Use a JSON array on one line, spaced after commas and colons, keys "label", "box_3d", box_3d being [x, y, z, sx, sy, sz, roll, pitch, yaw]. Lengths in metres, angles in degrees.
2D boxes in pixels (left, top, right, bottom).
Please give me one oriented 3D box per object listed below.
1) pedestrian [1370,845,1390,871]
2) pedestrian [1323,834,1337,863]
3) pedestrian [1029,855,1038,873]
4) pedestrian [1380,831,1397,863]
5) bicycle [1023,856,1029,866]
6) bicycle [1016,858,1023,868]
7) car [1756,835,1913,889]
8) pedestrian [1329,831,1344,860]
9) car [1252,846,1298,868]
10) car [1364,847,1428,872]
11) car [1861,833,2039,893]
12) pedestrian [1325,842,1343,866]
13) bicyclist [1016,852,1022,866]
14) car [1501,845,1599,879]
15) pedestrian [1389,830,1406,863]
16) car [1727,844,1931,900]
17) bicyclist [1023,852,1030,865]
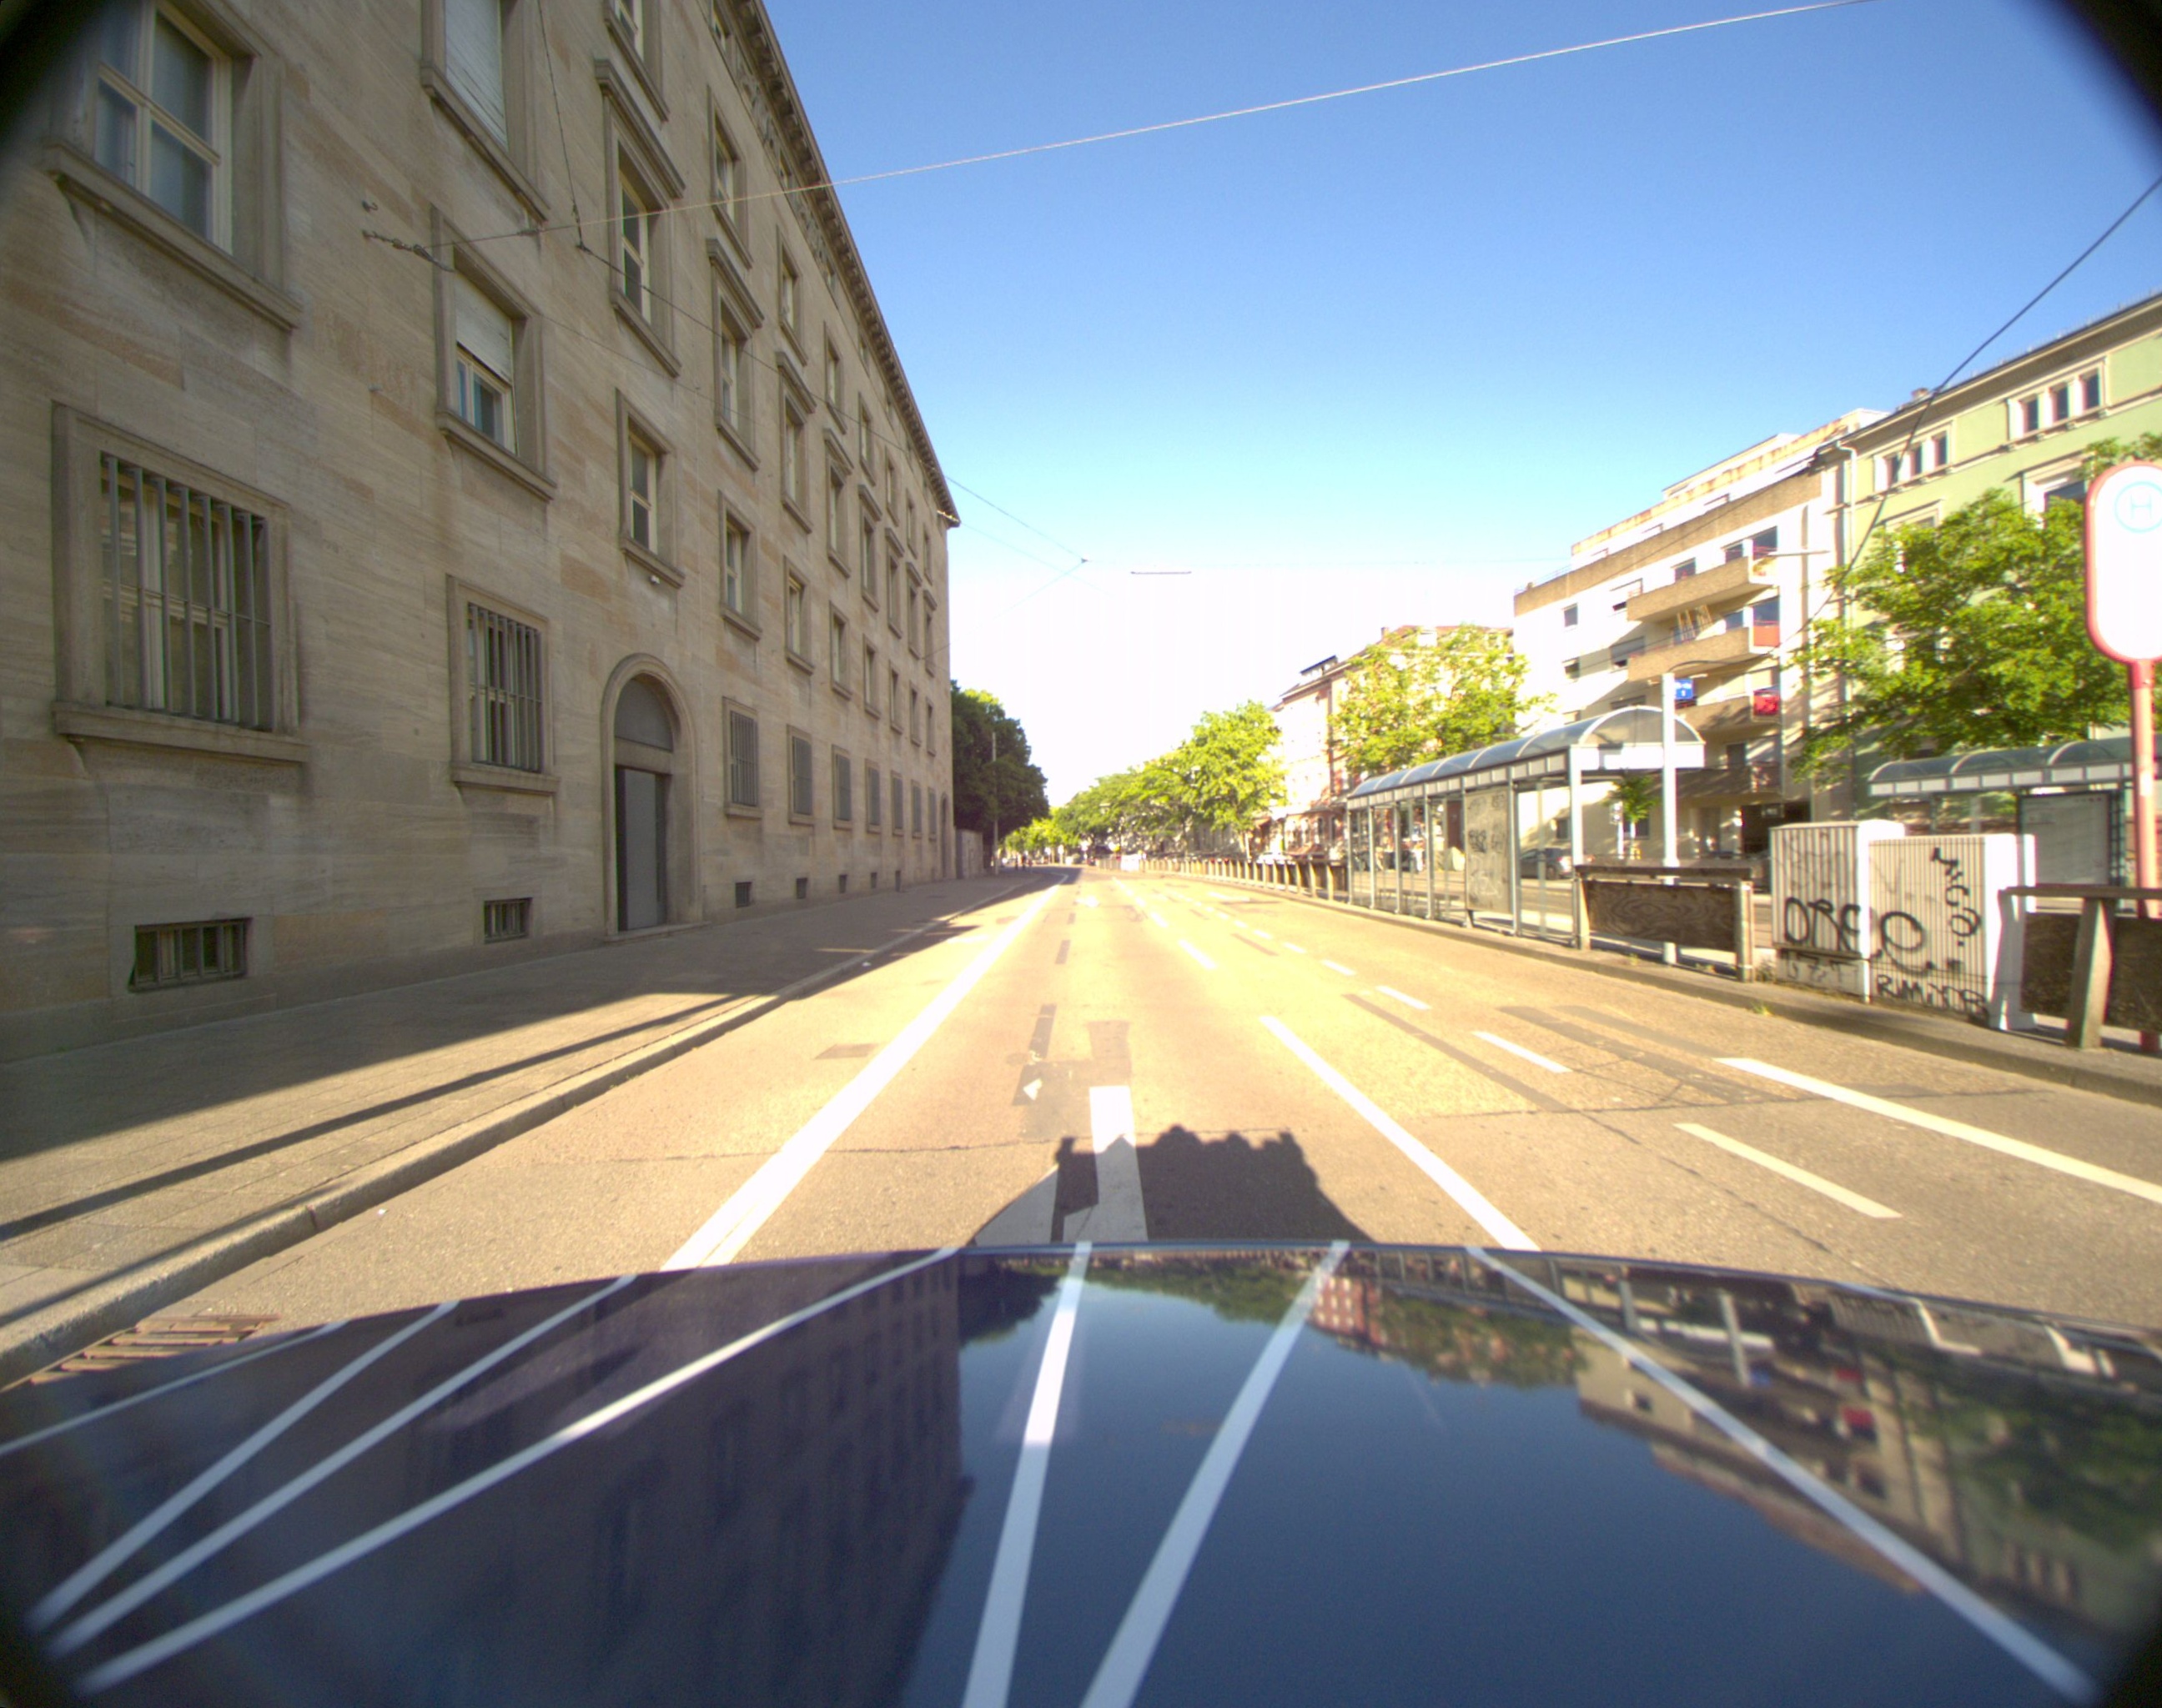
[{"label": "pedestrian", "box_3d": [18.983, 0.272, 48.247, 0.870, 1.619, 0.889, -2, 1, -42]}, {"label": "pedestrian", "box_3d": [19.451, -0.438, 59.284, 0.812, 2.194, 0.756, -1, 1, -4]}, {"label": "pedestrian", "box_3d": [-3.689, 0.774, 58.854, 0.548, 1.327, 0.587, -1, 1, 7]}, {"label": "pedestrian", "box_3d": [21.217, -0.482, 52.436, 0.813, 2.194, 0.756, -1, 1, -10]}, {"label": "bicycle", "box_3d": [-6.616, 0.886, 91.983, 0.625, 1.167, 1.566, 0, 0, 1]}, {"label": "bicycle", "box_3d": [-7.473, 1.073, 91.834, 0.625, 1.214, 1.659, -3, 1, 1]}, {"label": "car", "box_3d": [24.096, 0.230, 24.339, 4.002, 1.573, 1.761, -1, 0, -14]}, {"label": "pedestrian", "box_3d": [19.400, -0.624, 57.723, 0.813, 2.194, 0.756, -1, 1, -10]}, {"label": "car", "box_3d": [16.288, 0.230, 63.594, 4.134, 1.698, 1.848, -1, 1, -45]}, {"label": "car", "box_3d": [18.452, 0.302, 44.673, 1.609, 1.388, 3.997, -1, 0, -9]}, {"label": "car", "box_3d": [24.895, 0.227, 21.799, 4.002, 1.573, 1.761, -1, 0, -14]}, {"label": "pedestrian", "box_3d": [18.447, 0.004, 55.412, 0.855, 1.710, 1.019, -1, 1, -8]}, {"label": "bicyclist", "box_3d": [-7.500, 0.623, 91.915, 0.625, 1.729, 0.688, -3, 1, 1]}, {"label": "car", "box_3d": [20.870, 0.327, 33.991, 1.654, 1.419, 3.737, -1, 0, -11]}, {"label": "pedestrian", "box_3d": [21.413, -0.479, 51.425, 0.813, 2.194, 0.756, -1, 1, -10]}, {"label": "car", "box_3d": [20.492, 0.447, 21.070, 1.670, 1.400, 3.877, 0, 0, -5]}, {"label": "bicyclist", "box_3d": [-6.618, 0.532, 91.991, 0.728, 1.570, 0.775, 0, 1, 1]}]
